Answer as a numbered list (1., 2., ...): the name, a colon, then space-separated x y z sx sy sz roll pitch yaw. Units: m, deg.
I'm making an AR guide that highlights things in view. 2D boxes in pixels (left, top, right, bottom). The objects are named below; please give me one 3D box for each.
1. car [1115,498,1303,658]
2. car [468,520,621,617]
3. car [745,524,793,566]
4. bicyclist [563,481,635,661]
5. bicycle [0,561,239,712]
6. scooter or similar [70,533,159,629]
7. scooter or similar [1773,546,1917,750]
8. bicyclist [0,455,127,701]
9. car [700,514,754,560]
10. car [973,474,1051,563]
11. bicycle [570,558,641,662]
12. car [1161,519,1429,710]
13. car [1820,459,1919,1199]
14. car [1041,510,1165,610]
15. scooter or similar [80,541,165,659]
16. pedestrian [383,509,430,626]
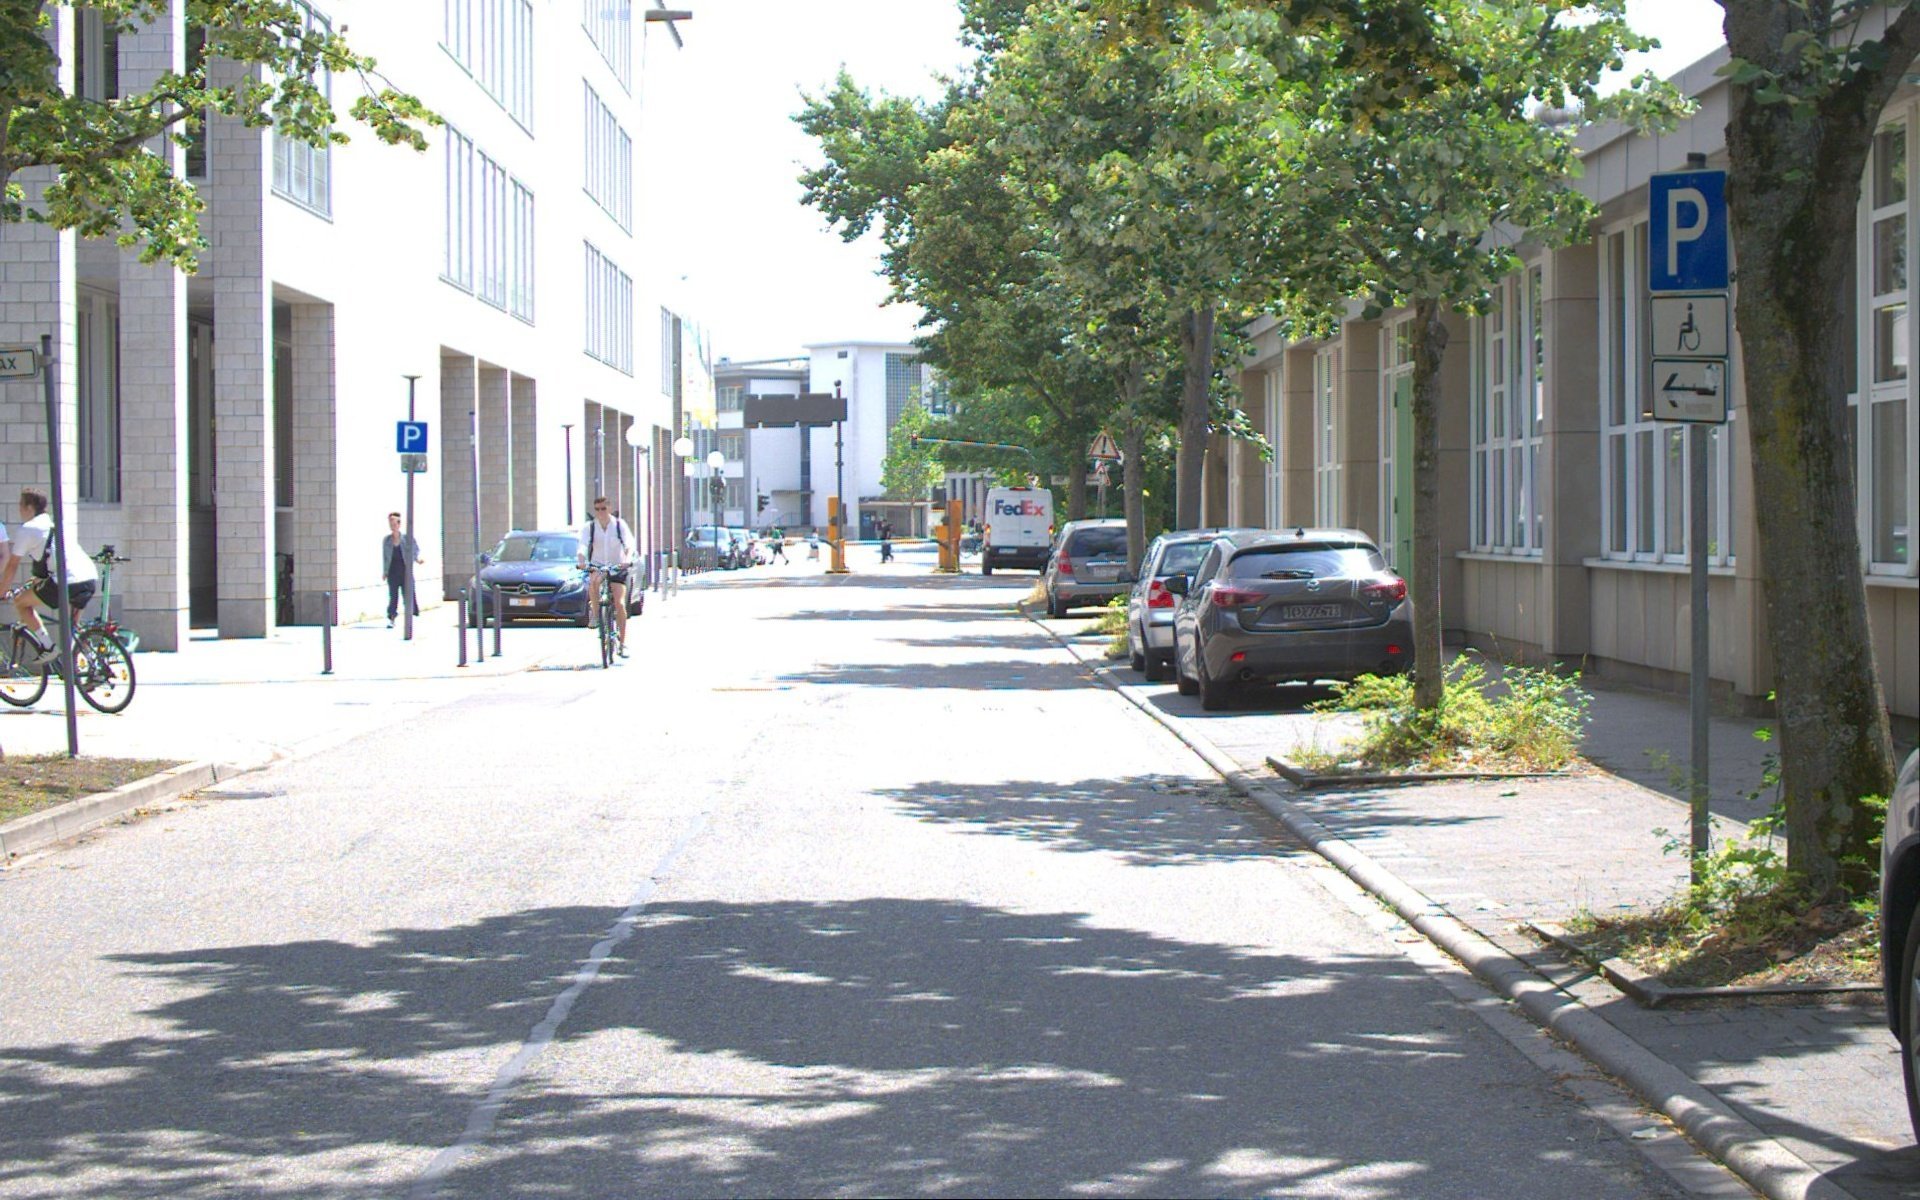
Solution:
1. car: 2.491 -0.256 35.108 1.616 1.533 3.780 0 1 0
2. car: -6.344 -0.502 52.821 1.766 1.423 4.234 0 1 1
3. car: -7.228 -2.086 130.283 1.646 1.493 3.729 0 0 -1
4. bicyclist: -4.112 -0.338 39.253 0.711 2.007 1.019 -1 1 -3
5. bicycle: -7.454 0.288 28.575 2.742 1.195 0.885 1 1 11
6. scooter or similar: -10.872 -0.251 44.194 0.525 1.206 1.557 -1 2 -38
7. scooter or similar: 5.665 0.286 22.070 0.511 1.245 1.486 -1 1 0
8. bicyclist: -7.508 -0.191 28.585 0.847 2.007 0.876 1 1 11
9. car: -8.007 -2.166 118.432 1.646 1.493 3.729 0 0 -1
10. car: 1.499 -2.382 100.349 2.083 2.531 4.316 1 1 -1
11. bicycle: -4.035 0.097 39.198 0.685 1.126 1.889 0 1 -3
12. car: 2.798 0.067 29.600 1.780 1.471 4.462 -1 1 -1
13. car: 3.077 0.518 5.978 1.822 1.658 4.584 -1 1 -2
14. car: 2.353 -0.694 57.492 1.858 1.568 4.000 -1 1 0
15. scooter or similar: -8.913 -0.010 36.640 0.454 1.219 1.549 0 1 3
16. pedestrian: -8.089 -0.484 50.209 0.649 1.695 0.890 0 1 -11
